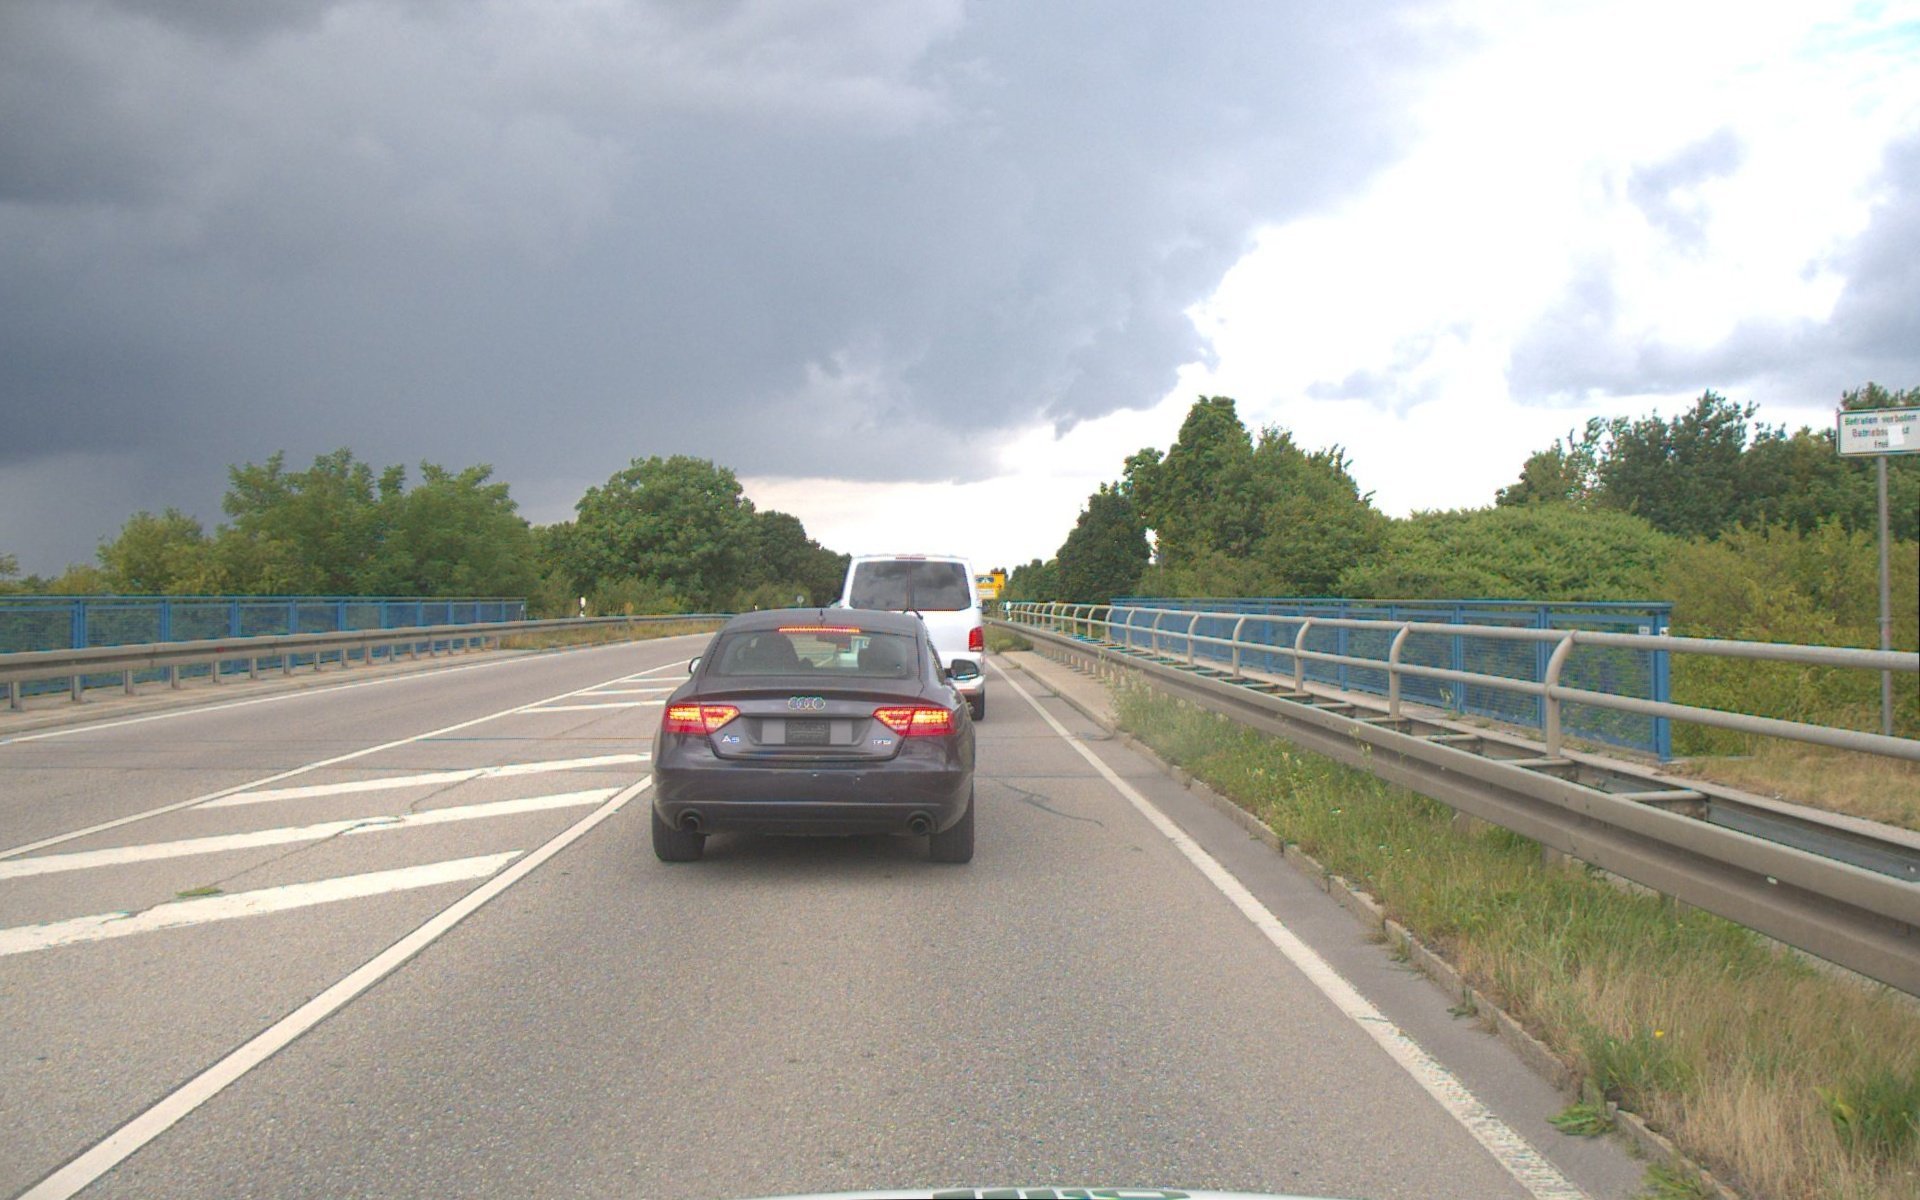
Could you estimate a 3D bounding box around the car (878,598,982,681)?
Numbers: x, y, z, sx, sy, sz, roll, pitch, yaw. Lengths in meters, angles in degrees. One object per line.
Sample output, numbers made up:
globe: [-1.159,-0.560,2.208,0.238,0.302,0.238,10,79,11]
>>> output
car: [-0.519,0.682,30.338,1.784,1.405,4.071,0,0,0]

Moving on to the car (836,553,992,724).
car: [-0.582,0.445,21.121,1.791,1.969,3.999,0,0,-2]

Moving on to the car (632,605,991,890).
car: [-0.753,0.748,10.354,1.784,1.405,4.071,1,0,0]
